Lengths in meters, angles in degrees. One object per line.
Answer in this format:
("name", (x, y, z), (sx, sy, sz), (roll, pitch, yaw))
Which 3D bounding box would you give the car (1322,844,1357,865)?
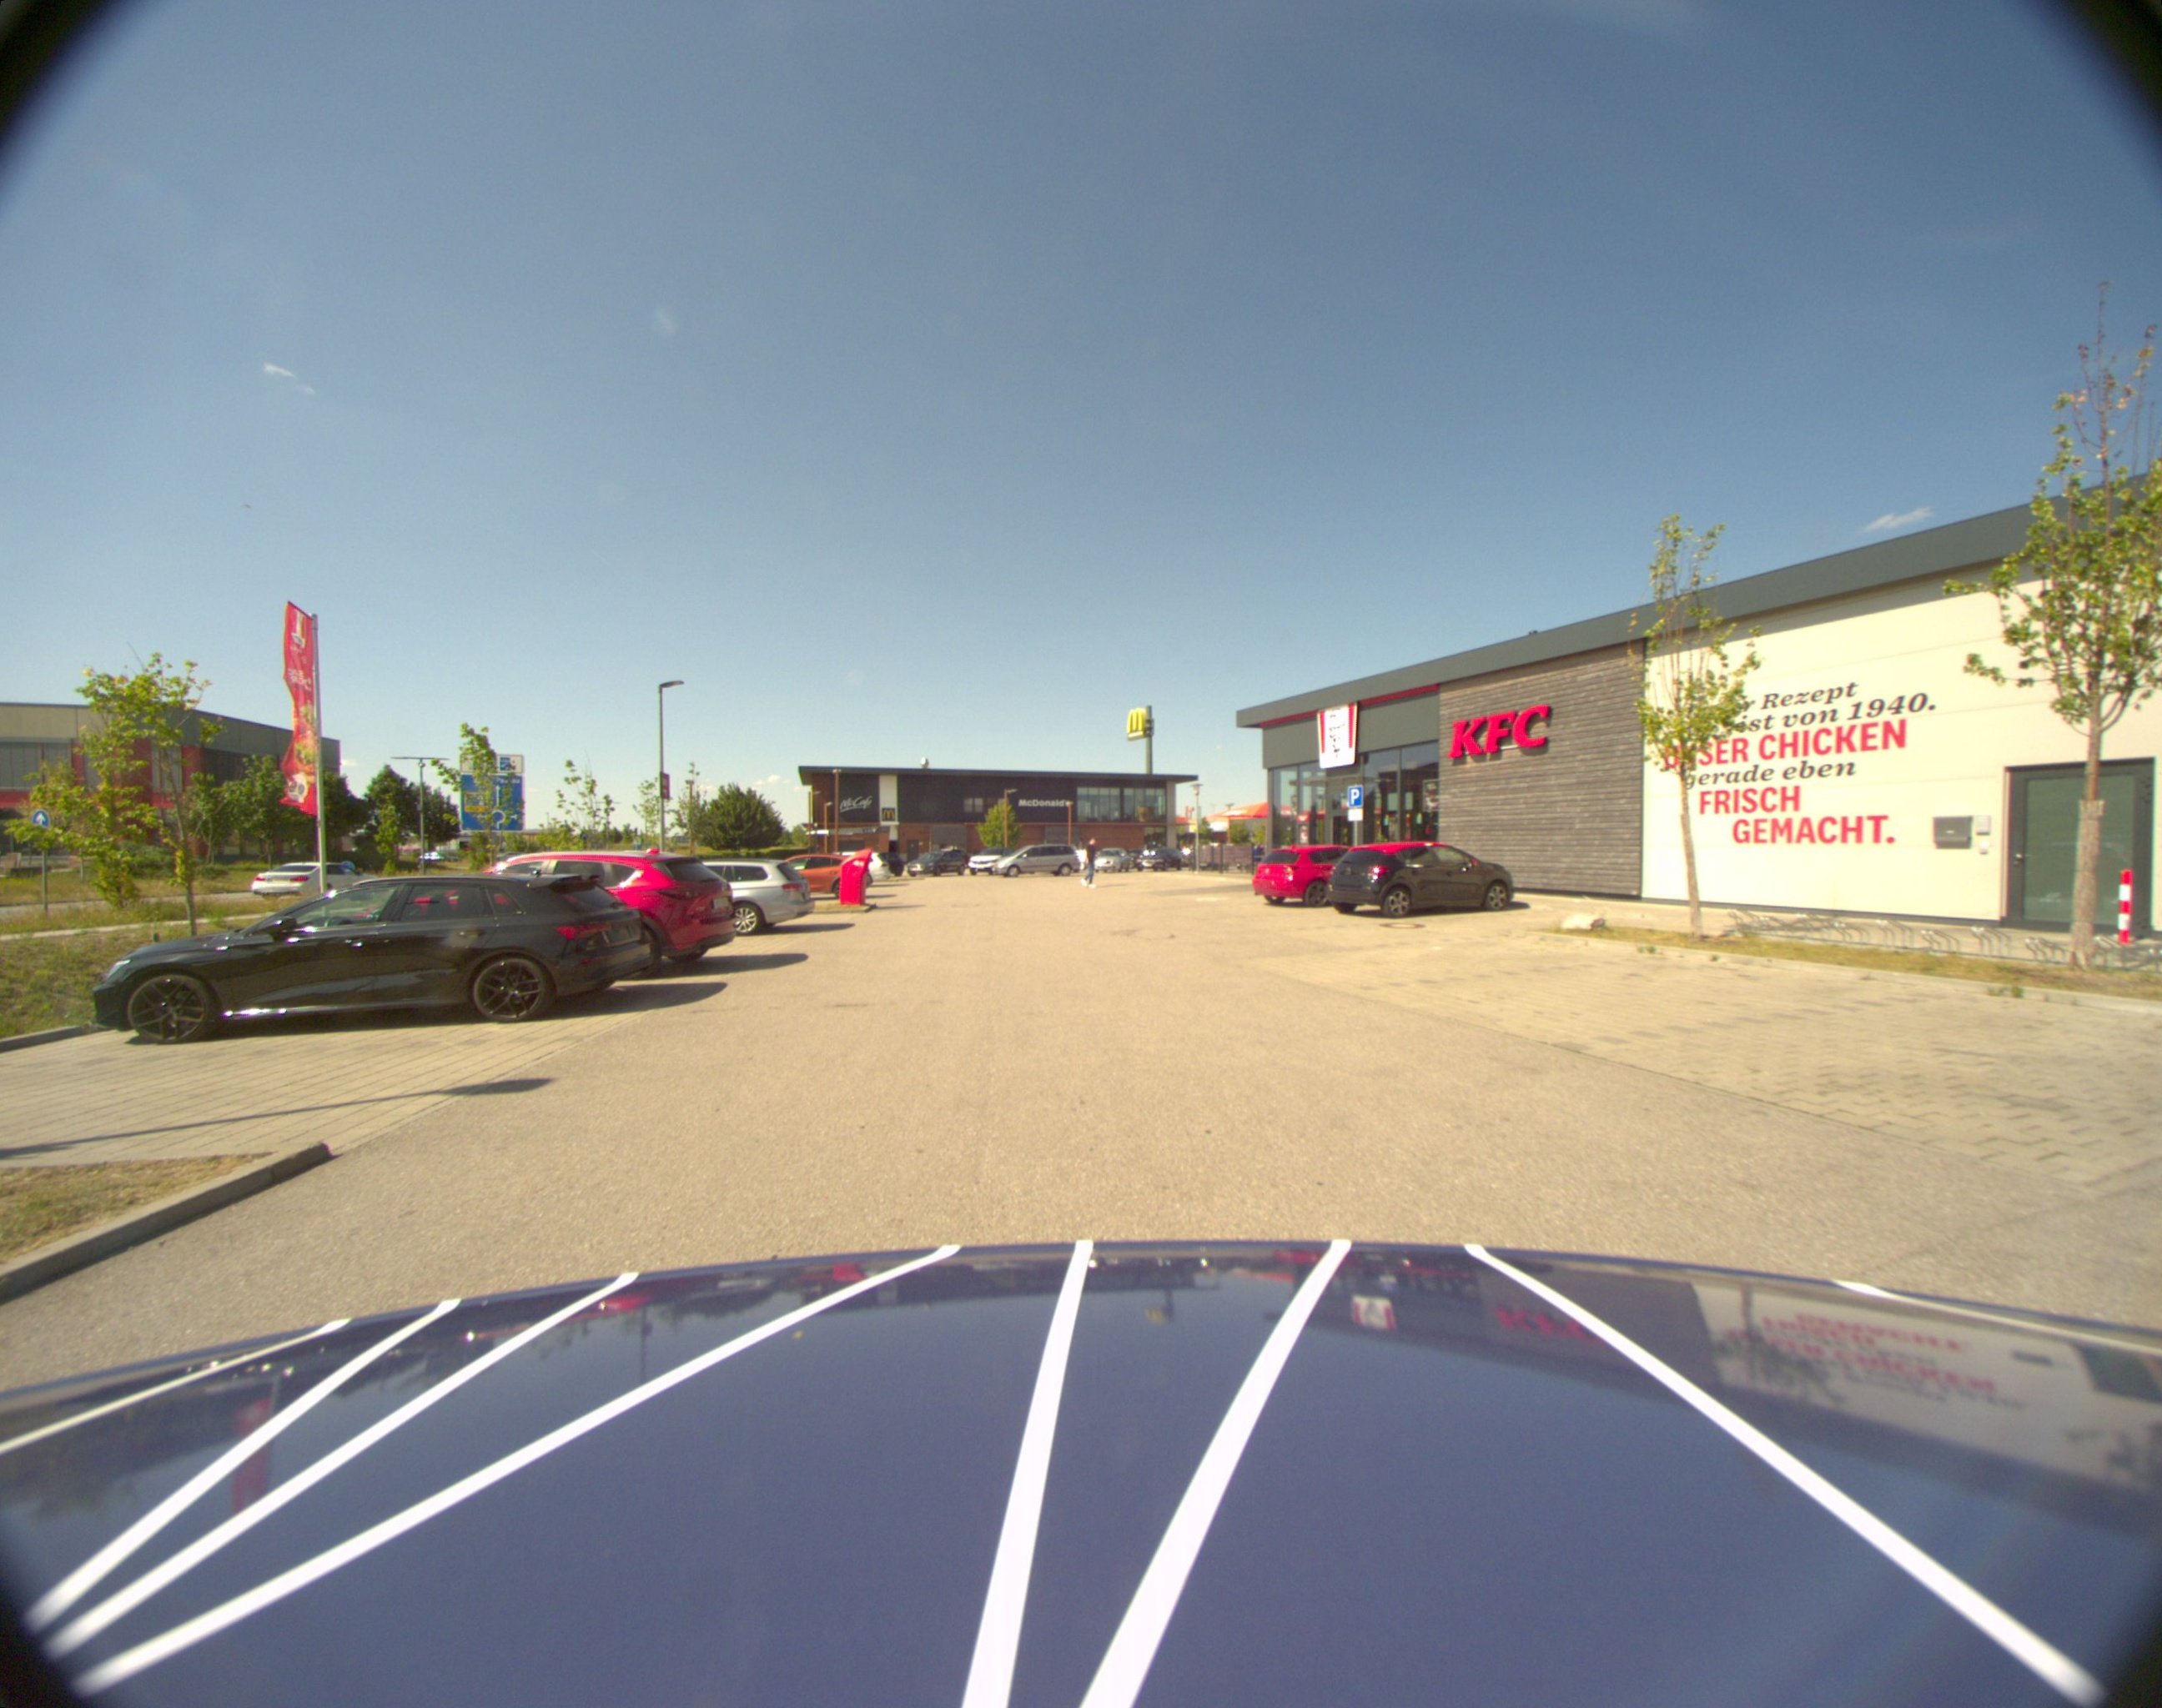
("car", (18.228, 0.032, 53.474), (1.970, 1.451, 4.214), (-1, 0, 23))

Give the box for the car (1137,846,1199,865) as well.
("car", (7.175, 0.141, 62.785), (4.633, 1.478, 1.899), (-1, 1, 27))

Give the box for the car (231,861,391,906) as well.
("car", (-29.774, 1.090, 29.646), (2.000, 1.518, 4.653), (-1, 0, -10))

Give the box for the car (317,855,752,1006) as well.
("car", (-6.918, 0.902, 10.111), (4.230, 1.628, 1.949), (-2, 1, -7))

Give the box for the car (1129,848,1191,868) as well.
("car", (5.963, 0.302, 57.474), (4.269, 1.478, 1.816), (-1, 1, 27))

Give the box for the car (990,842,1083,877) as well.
("car", (-2.419, 0.279, 40.992), (4.687, 1.738, 1.830), (-1, 1, -20))

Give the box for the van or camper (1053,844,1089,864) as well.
("van or camper", (-0.894, -0.034, 69.945), (1.707, 1.764, 4.035), (-1, 0, 24))

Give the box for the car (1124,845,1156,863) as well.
("car", (5.618, -0.015, 71.750), (1.713, 1.603, 4.043), (-1, 0, 25))

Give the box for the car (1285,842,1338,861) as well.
("car", (18.958, -0.198, 62.561), (3.990, 1.543, 1.757), (-1, 0, 24))

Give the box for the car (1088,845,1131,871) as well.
("car", (1.822, 0.223, 47.139), (1.972, 1.517, 4.210), (-1, 0, 11))

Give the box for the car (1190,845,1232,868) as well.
("car", (8.558, 0.154, 49.664), (1.832, 1.451, 4.377), (-1, 0, 21))

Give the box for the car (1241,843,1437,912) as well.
("car", (6.253, 0.506, 18.406), (4.406, 1.405, 1.737), (-2, 1, -21))

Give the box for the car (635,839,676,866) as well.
("car", (-36.407, -0.148, 65.153), (2.001, 2.184, 5.098), (-1, 0, -18))

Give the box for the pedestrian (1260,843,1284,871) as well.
("pedestrian", (8.815, 0.134, 35.123), (0.843, 1.266, 0.684), (-1, 1, -35))

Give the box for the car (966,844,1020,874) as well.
("car", (-5.147, 0.275, 44.898), (1.972, 1.645, 4.210), (-1, 0, 11))

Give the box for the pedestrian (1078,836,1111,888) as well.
("pedestrian", (0.484, 0.274, 27.358), (0.995, 1.799, 0.725), (-2, 2, -15))

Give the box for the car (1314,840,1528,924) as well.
("car", (7.020, 0.505, 15.719), (3.912, 1.498, 1.737), (-2, 1, -20))

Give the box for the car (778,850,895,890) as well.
("car", (-10.209, 0.635, 32.061), (4.483, 1.461, 1.831), (-2, 1, -12))

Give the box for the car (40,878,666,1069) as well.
("car", (-6.786, 1.046, 7.606), (4.206, 1.402, 1.772), (-2, 1, -9))

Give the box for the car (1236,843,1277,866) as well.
("car", (11.921, 0.022, 51.410), (1.832, 1.451, 4.592), (-1, 0, 23))

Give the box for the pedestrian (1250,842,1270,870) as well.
("pedestrian", (8.162, 0.081, 34.673), (0.625, 1.266, 0.612), (-1, 1, -35))

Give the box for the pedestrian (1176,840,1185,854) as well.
("pedestrian", (11.430, -0.784, 87.188), (0.700, 1.550, 0.723), (0, 1, 42))

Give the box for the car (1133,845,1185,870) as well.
("car", (5.070, 0.197, 48.730), (1.970, 1.478, 4.791), (-1, 0, 23))

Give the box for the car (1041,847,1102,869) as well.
("car", (-0.696, 0.293, 54.948), (4.104, 1.484, 1.714), (-1, 1, 27))

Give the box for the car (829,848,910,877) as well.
("car", (-11.760, 0.414, 42.533), (1.970, 1.517, 4.340), (0, 1, 25))

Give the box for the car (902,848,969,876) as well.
("car", (-8.301, 0.436, 43.836), (1.971, 1.517, 4.213), (-1, 0, 18))

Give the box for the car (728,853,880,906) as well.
("car", (-8.865, 0.783, 24.694), (4.354, 1.461, 1.831), (-2, 1, -12))

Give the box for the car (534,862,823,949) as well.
("car", (-7.619, 0.933, 14.797), (4.601, 1.405, 1.739), (-2, 1, -8))

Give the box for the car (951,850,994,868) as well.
("car", (-9.845, 0.408, 69.085), (1.958, 1.593, 4.474), (-1, 0, 21))

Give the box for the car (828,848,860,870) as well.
("car", (-18.592, 0.339, 59.535), (1.999, 1.681, 4.227), (0, 1, -23))
